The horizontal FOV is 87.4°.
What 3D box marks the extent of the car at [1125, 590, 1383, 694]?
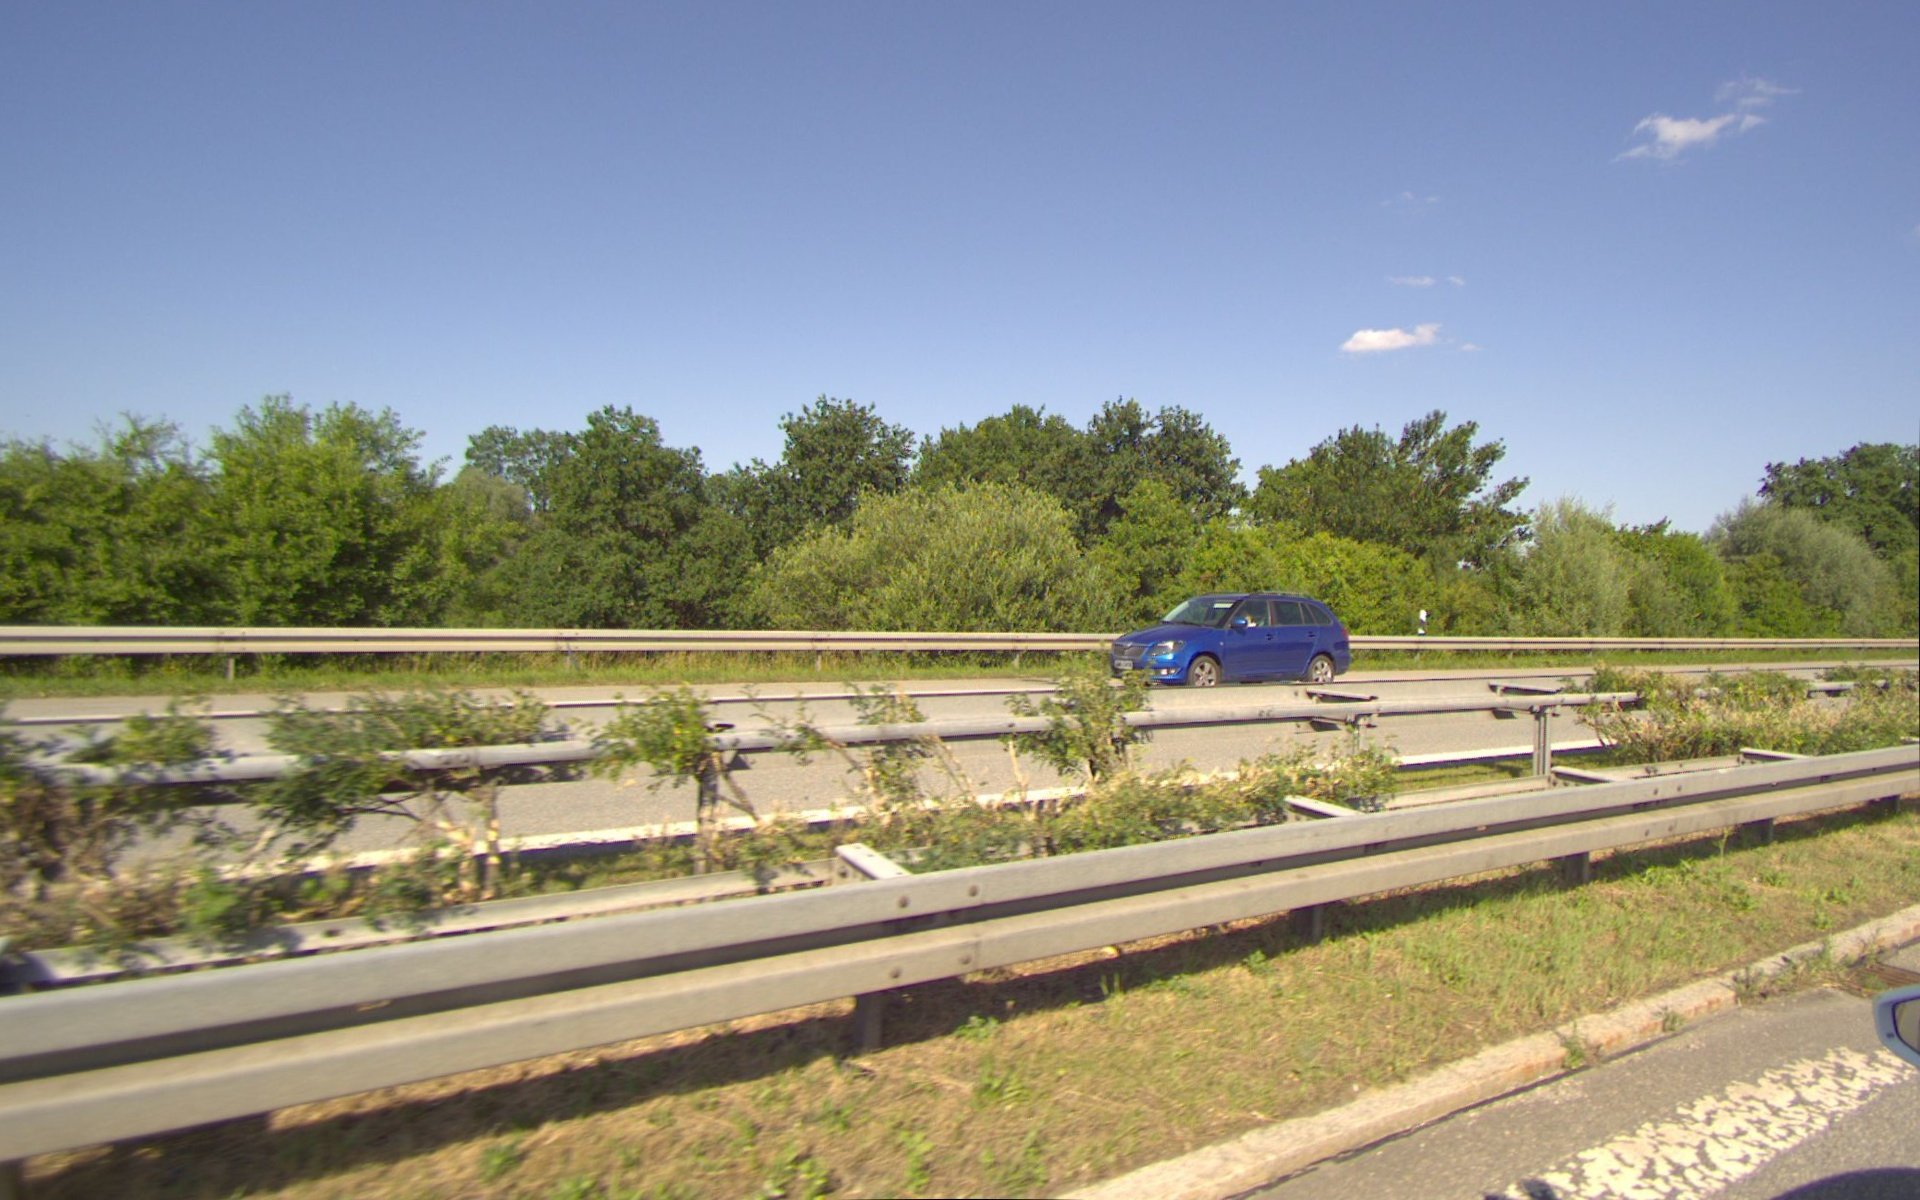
[{"bbox_3d":[4.650,0.634,15.765,3.954,1.460,1.667,1,-1,-31],"label":"car"}]
